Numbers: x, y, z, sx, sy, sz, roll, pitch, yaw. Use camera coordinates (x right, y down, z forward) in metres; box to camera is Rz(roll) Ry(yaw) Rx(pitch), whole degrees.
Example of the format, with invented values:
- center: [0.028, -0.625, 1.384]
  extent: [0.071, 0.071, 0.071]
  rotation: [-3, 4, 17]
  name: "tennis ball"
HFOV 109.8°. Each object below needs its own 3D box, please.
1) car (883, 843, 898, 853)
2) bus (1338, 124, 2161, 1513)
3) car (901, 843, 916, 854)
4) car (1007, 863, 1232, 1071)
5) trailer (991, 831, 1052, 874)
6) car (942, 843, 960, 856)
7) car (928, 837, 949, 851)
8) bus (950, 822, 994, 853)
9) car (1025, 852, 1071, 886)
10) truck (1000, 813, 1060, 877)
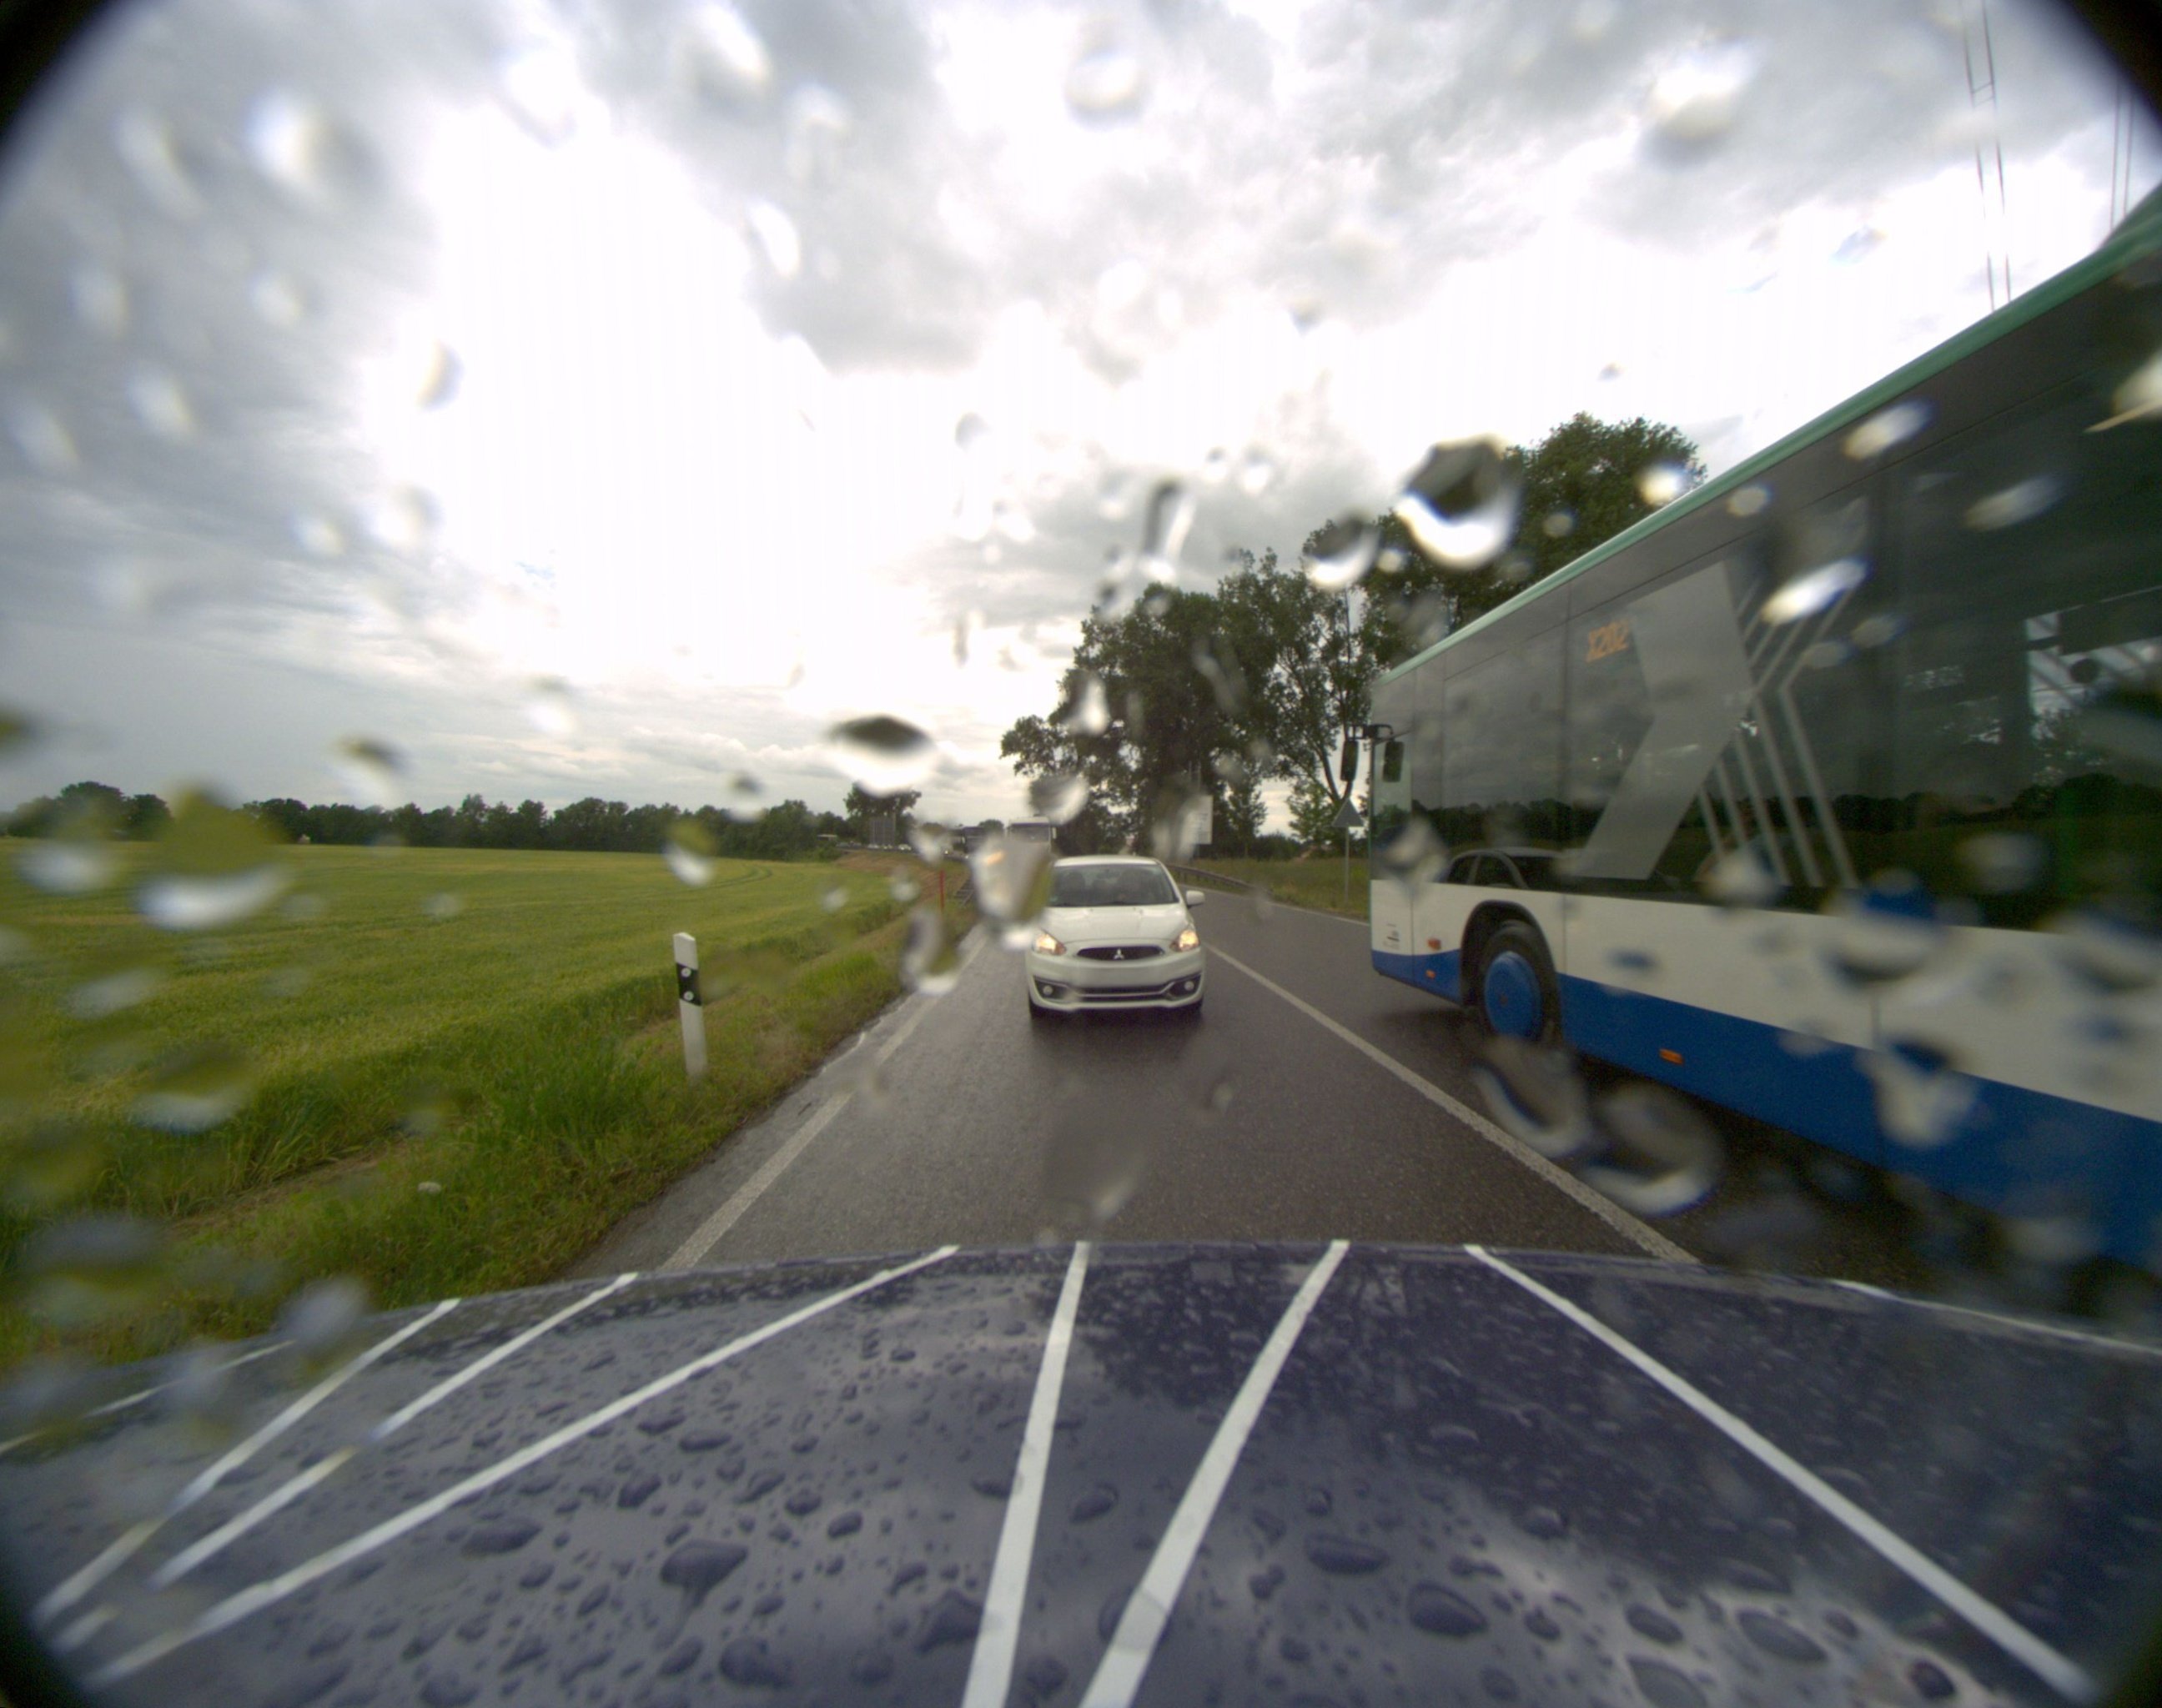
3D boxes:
- center: [-39.292, -1.295, 156.839]
  extent: [2.002, 2.002, 4.255]
  rotation: [-2, 2, -26]
  name: "car"
- center: [3.930, -0.089, 1.361]
  extent: [2.765, 3.278, 12.501]
  rotation: [-1, 0, 1]
  name: "bus"
- center: [-32.437, -0.989, 142.500]
  extent: [2.002, 2.002, 4.223]
  rotation: [-2, 2, -22]
  name: "car"
- center: [0.263, 0.868, 7.714]
  extent: [1.653, 1.461, 4.029]
  rotation: [-1, 0, -1]
  name: "car"
- center: [-4.607, -0.275, 55.034]
  extent: [2.986, 2.618, 15.664]
  rotation: [-2, 1, -9]
  name: "trailer"
- center: [-17.706, -0.640, 103.374]
  extent: [1.816, 1.569, 3.992]
  rotation: [-2, 2, -19]
  name: "car"
- center: [-21.790, -1.543, 116.017]
  extent: [2.002, 2.002, 5.324]
  rotation: [-2, 2, -23]
  name: "car"
- center: [-13.041, -2.007, 89.565]
  extent: [2.967, 3.294, 14.811]
  rotation: [-2, 2, -16]
  name: "bus"
- center: [-1.598, 0.656, 35.524]
  extent: [1.782, 1.380, 4.324]
  rotation: [-2, 2, -7]
  name: "car"
- center: [-3.210, -0.592, 46.550]
  extent: [2.986, 3.590, 6.074]
  rotation: [-2, 2, -9]
  name: "truck"
